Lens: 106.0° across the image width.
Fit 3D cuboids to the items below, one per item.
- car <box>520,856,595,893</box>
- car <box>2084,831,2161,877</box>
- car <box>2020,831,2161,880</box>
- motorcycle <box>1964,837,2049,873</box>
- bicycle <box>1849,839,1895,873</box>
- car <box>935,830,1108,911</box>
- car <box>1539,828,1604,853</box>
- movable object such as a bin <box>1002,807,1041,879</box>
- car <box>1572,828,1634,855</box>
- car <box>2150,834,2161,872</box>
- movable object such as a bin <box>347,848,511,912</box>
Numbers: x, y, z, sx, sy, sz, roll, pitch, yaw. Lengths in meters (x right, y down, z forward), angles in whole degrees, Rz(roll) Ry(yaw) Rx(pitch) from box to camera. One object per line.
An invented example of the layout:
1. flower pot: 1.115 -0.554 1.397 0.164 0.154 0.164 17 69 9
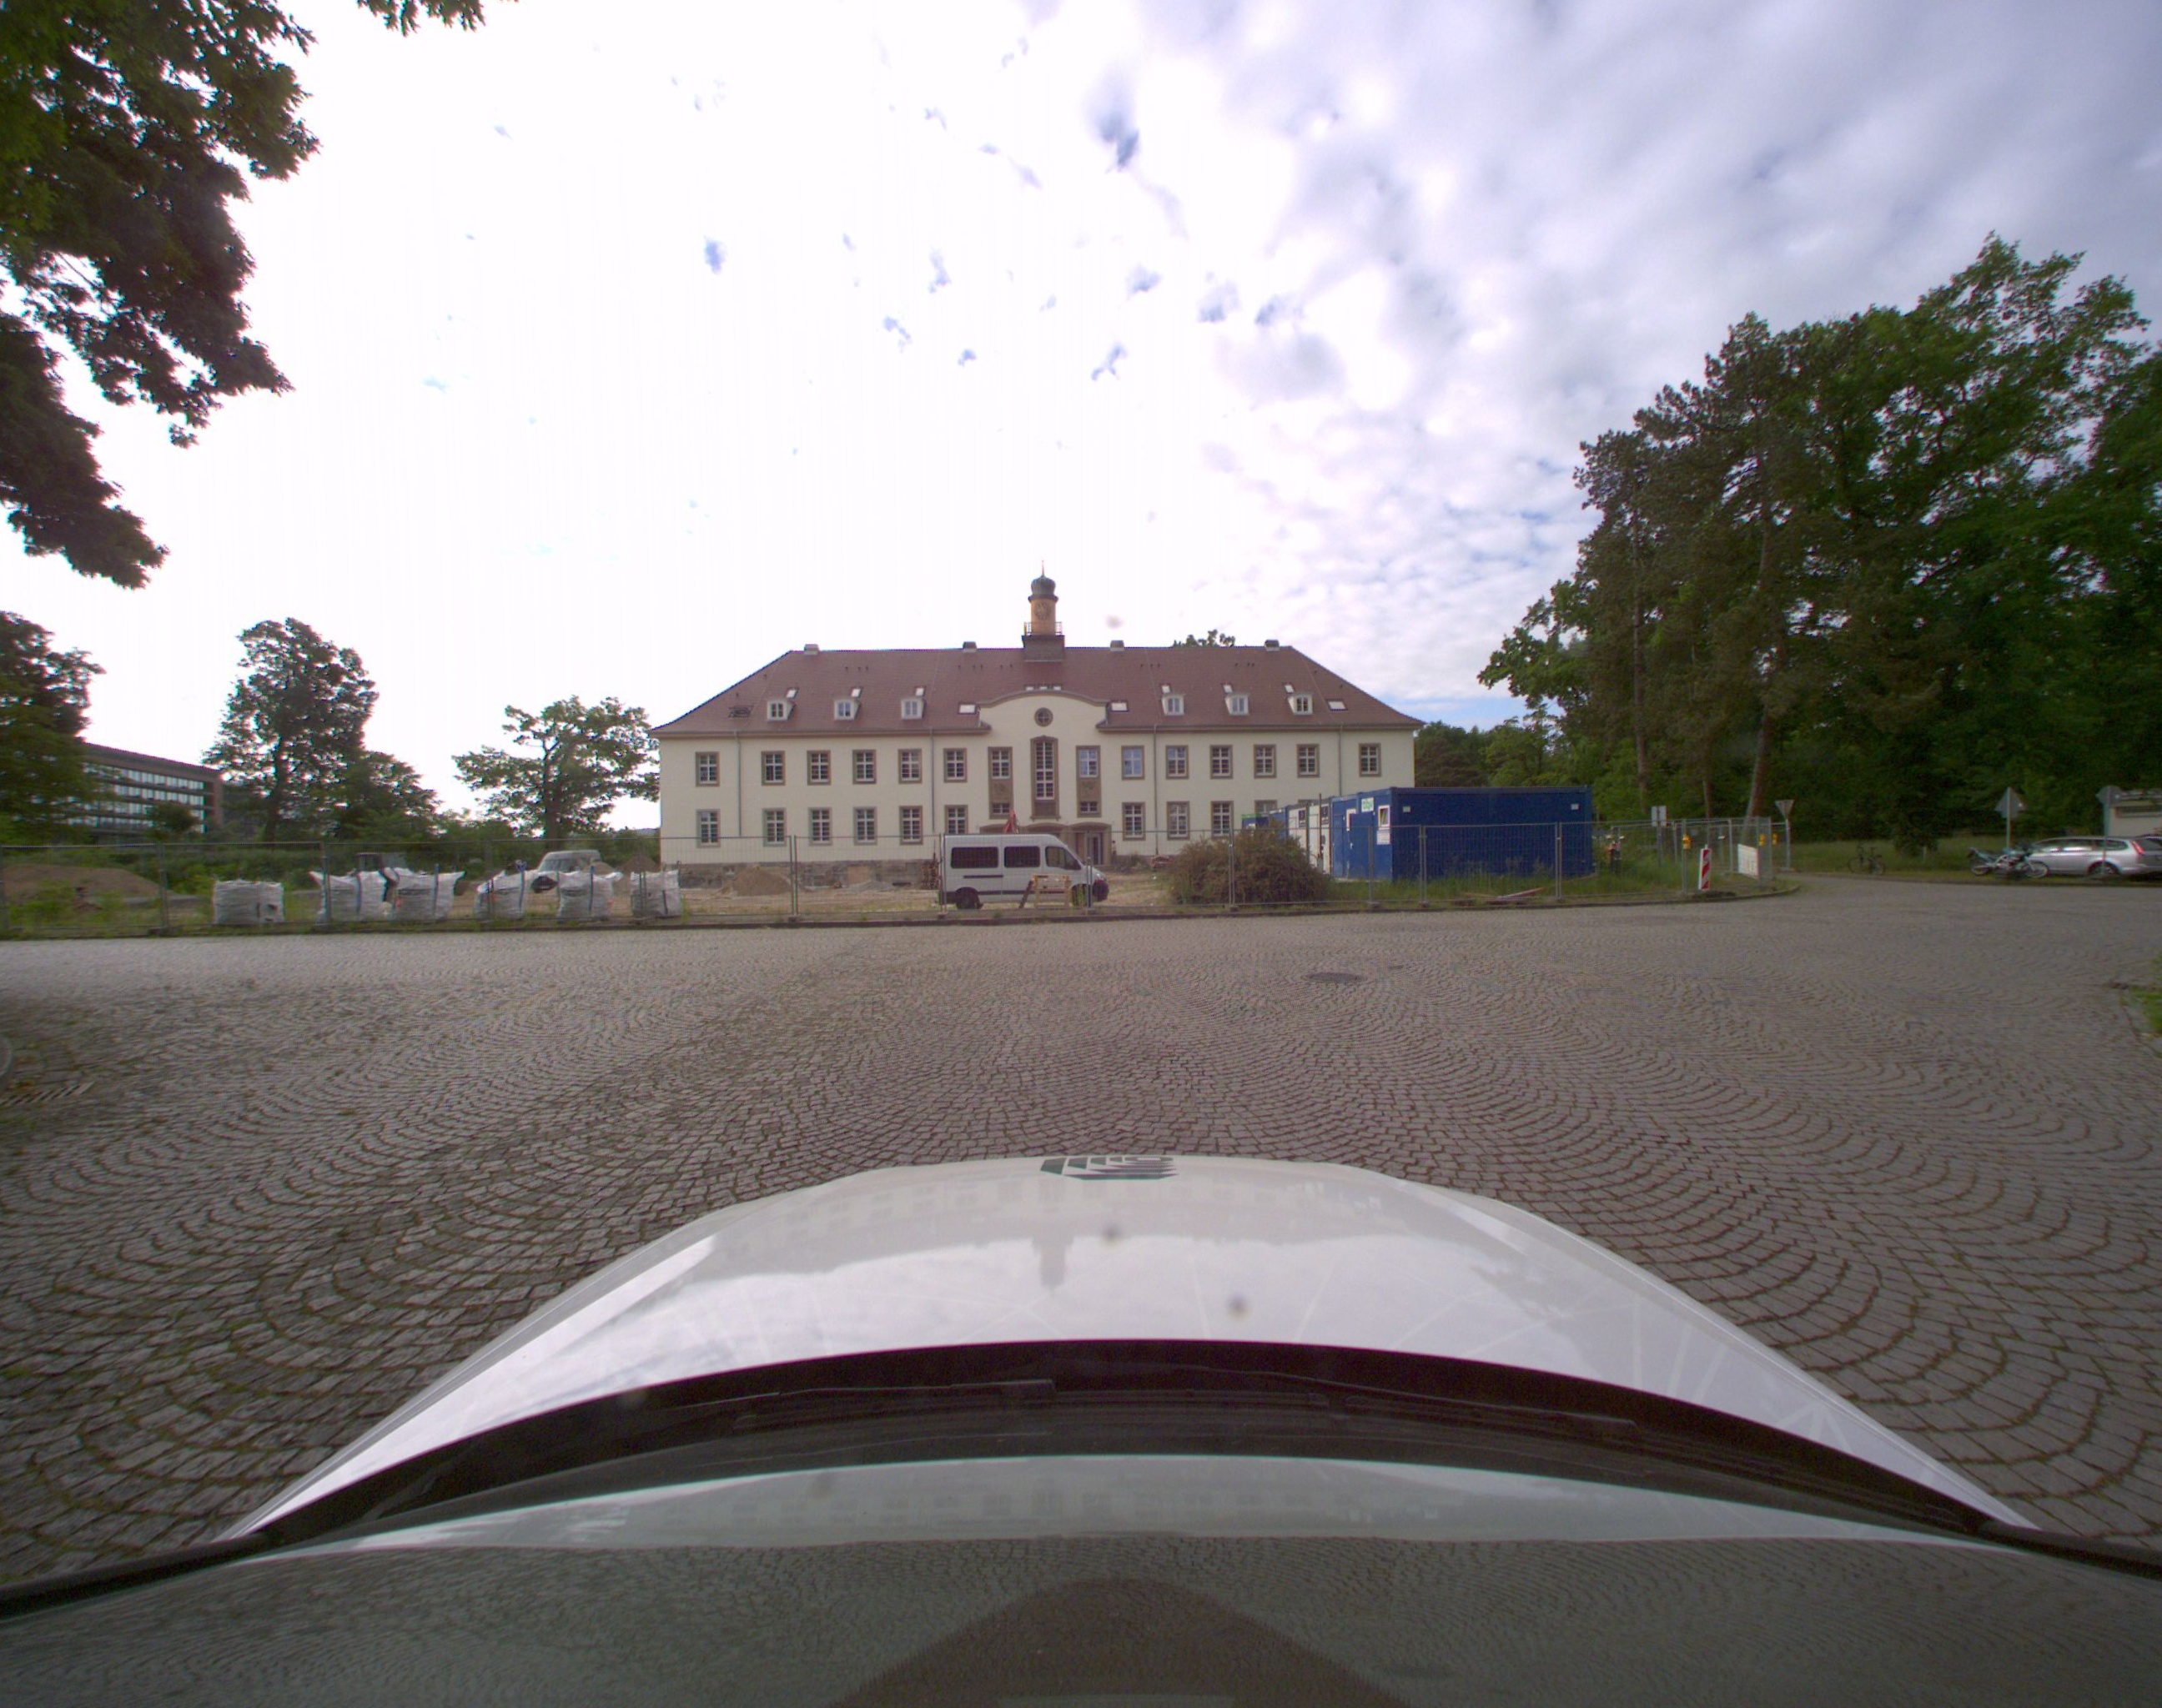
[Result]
1. car: -32.598 1.238 50.886 2.066 2.150 4.884 -1 0 -9
2. car: 36.277 -0.002 27.198 1.385 1.447 3.211 -1 2 -11
3. car: 33.965 0.005 27.286 1.319 1.488 3.015 -1 2 -11
4. motorcycle: 31.546 0.026 27.801 0.516 1.164 1.960 -1 1 -8
5. bicycle: 28.675 0.061 29.539 0.509 1.167 1.814 -1 0 21
6. car: -1.822 0.501 25.956 5.247 2.344 1.909 -1 0 -1
7. car: 31.009 -0.857 51.419 4.463 1.502 1.745 -2 0 -34
8. movable object such as a bin: -3.381 -0.593 45.524 1.991 3.771 5.307 -1 0 -6
9. car: 30.713 -0.772 47.860 4.003 1.487 1.604 -2 1 -34
10. car: 39.056 0.002 27.416 1.637 1.320 3.355 -1 2 -11
11. movable object such as a bin: -28.339 1.097 35.558 5.319 2.556 1.997 -1 0 -4
